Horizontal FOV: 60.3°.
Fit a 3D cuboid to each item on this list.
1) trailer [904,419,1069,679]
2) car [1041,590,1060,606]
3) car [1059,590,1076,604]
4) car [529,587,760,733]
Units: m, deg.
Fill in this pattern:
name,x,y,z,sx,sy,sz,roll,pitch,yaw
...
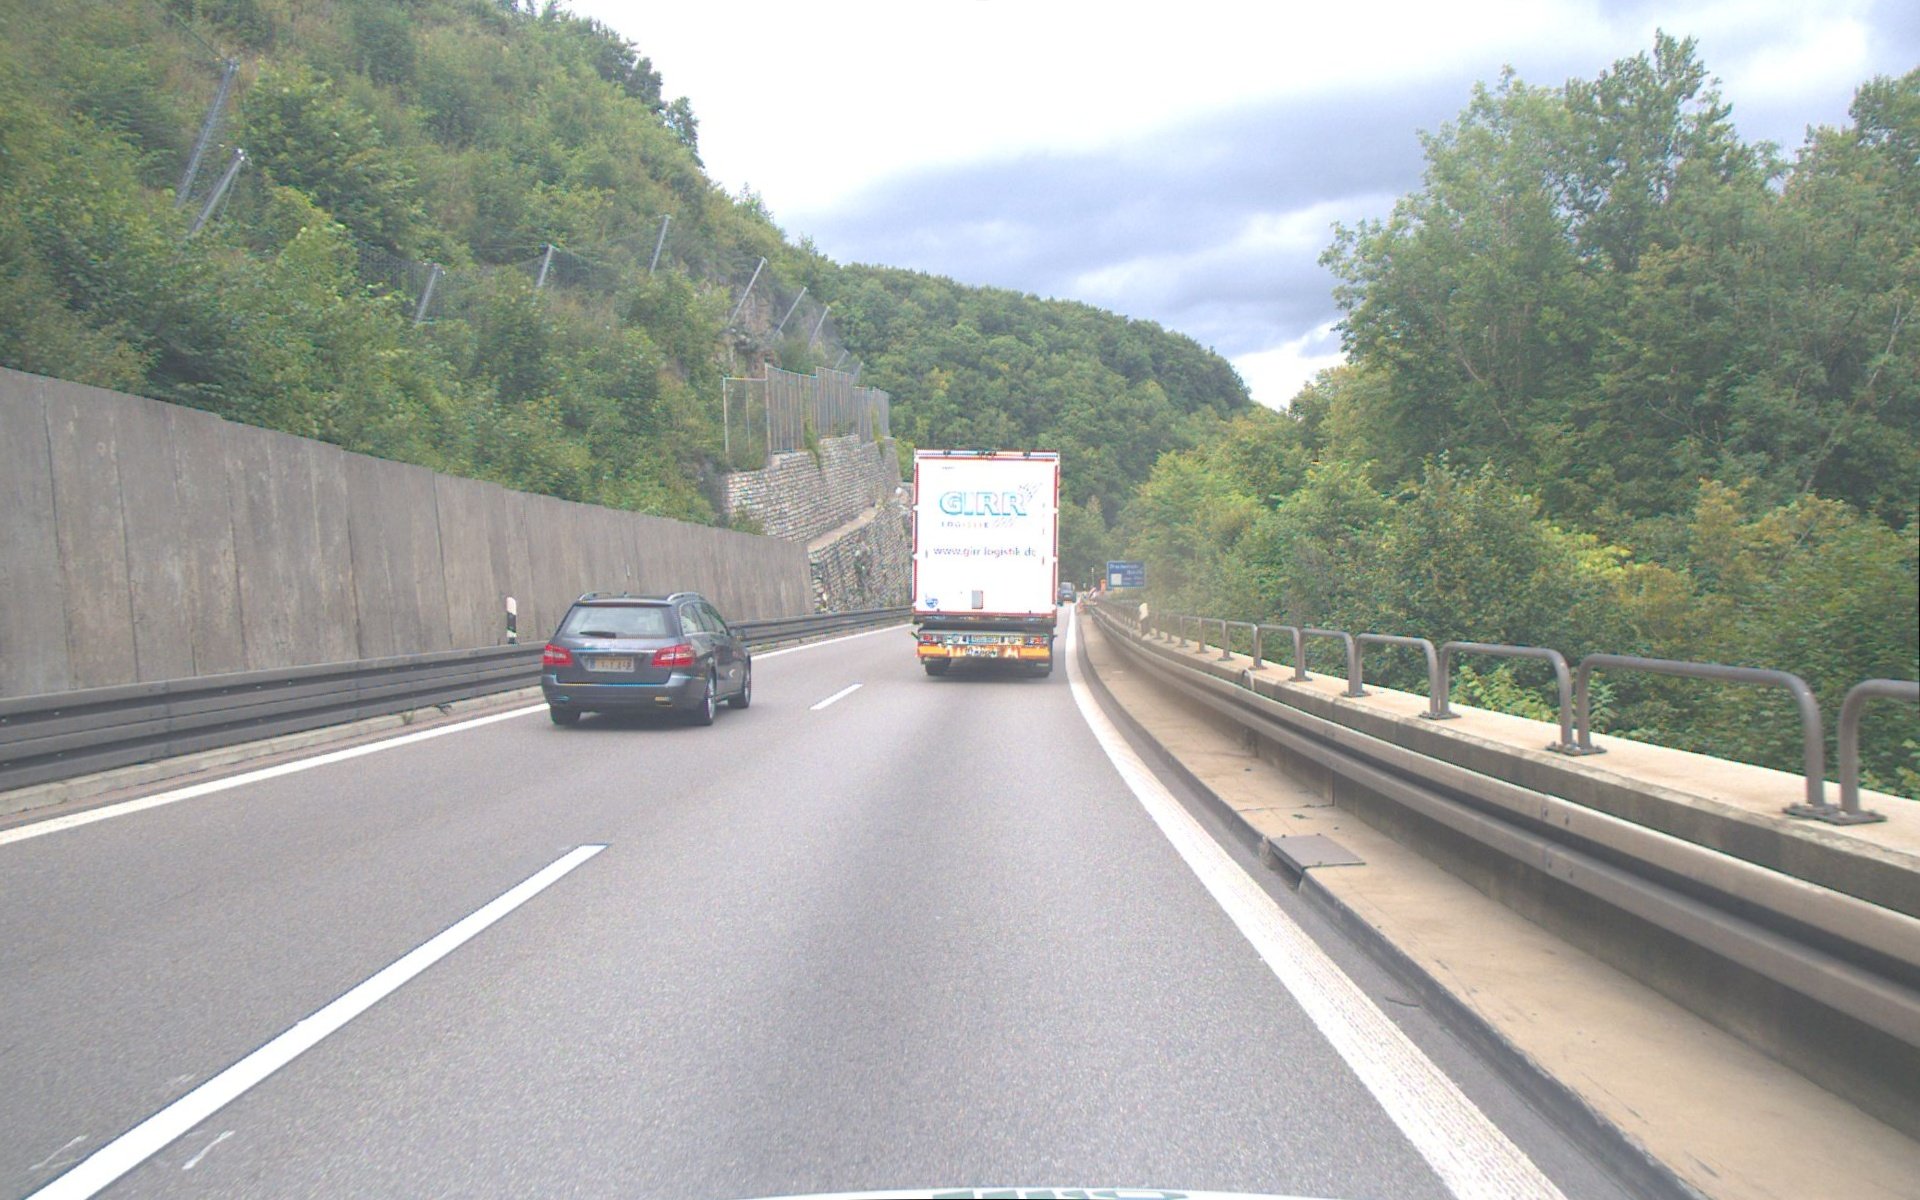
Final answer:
name,x,y,z,sx,sy,sz,roll,pitch,yaw
trailer,0.680,-0.840,34.059,2.755,4.378,12.248,0,0,2
car,9.357,-0.214,171.116,1.952,1.600,4.001,0,0,2
car,14.016,-0.389,215.881,1.951,1.795,4.003,0,0,8
car,-3.613,0.645,19.756,1.844,1.536,4.419,0,0,1
